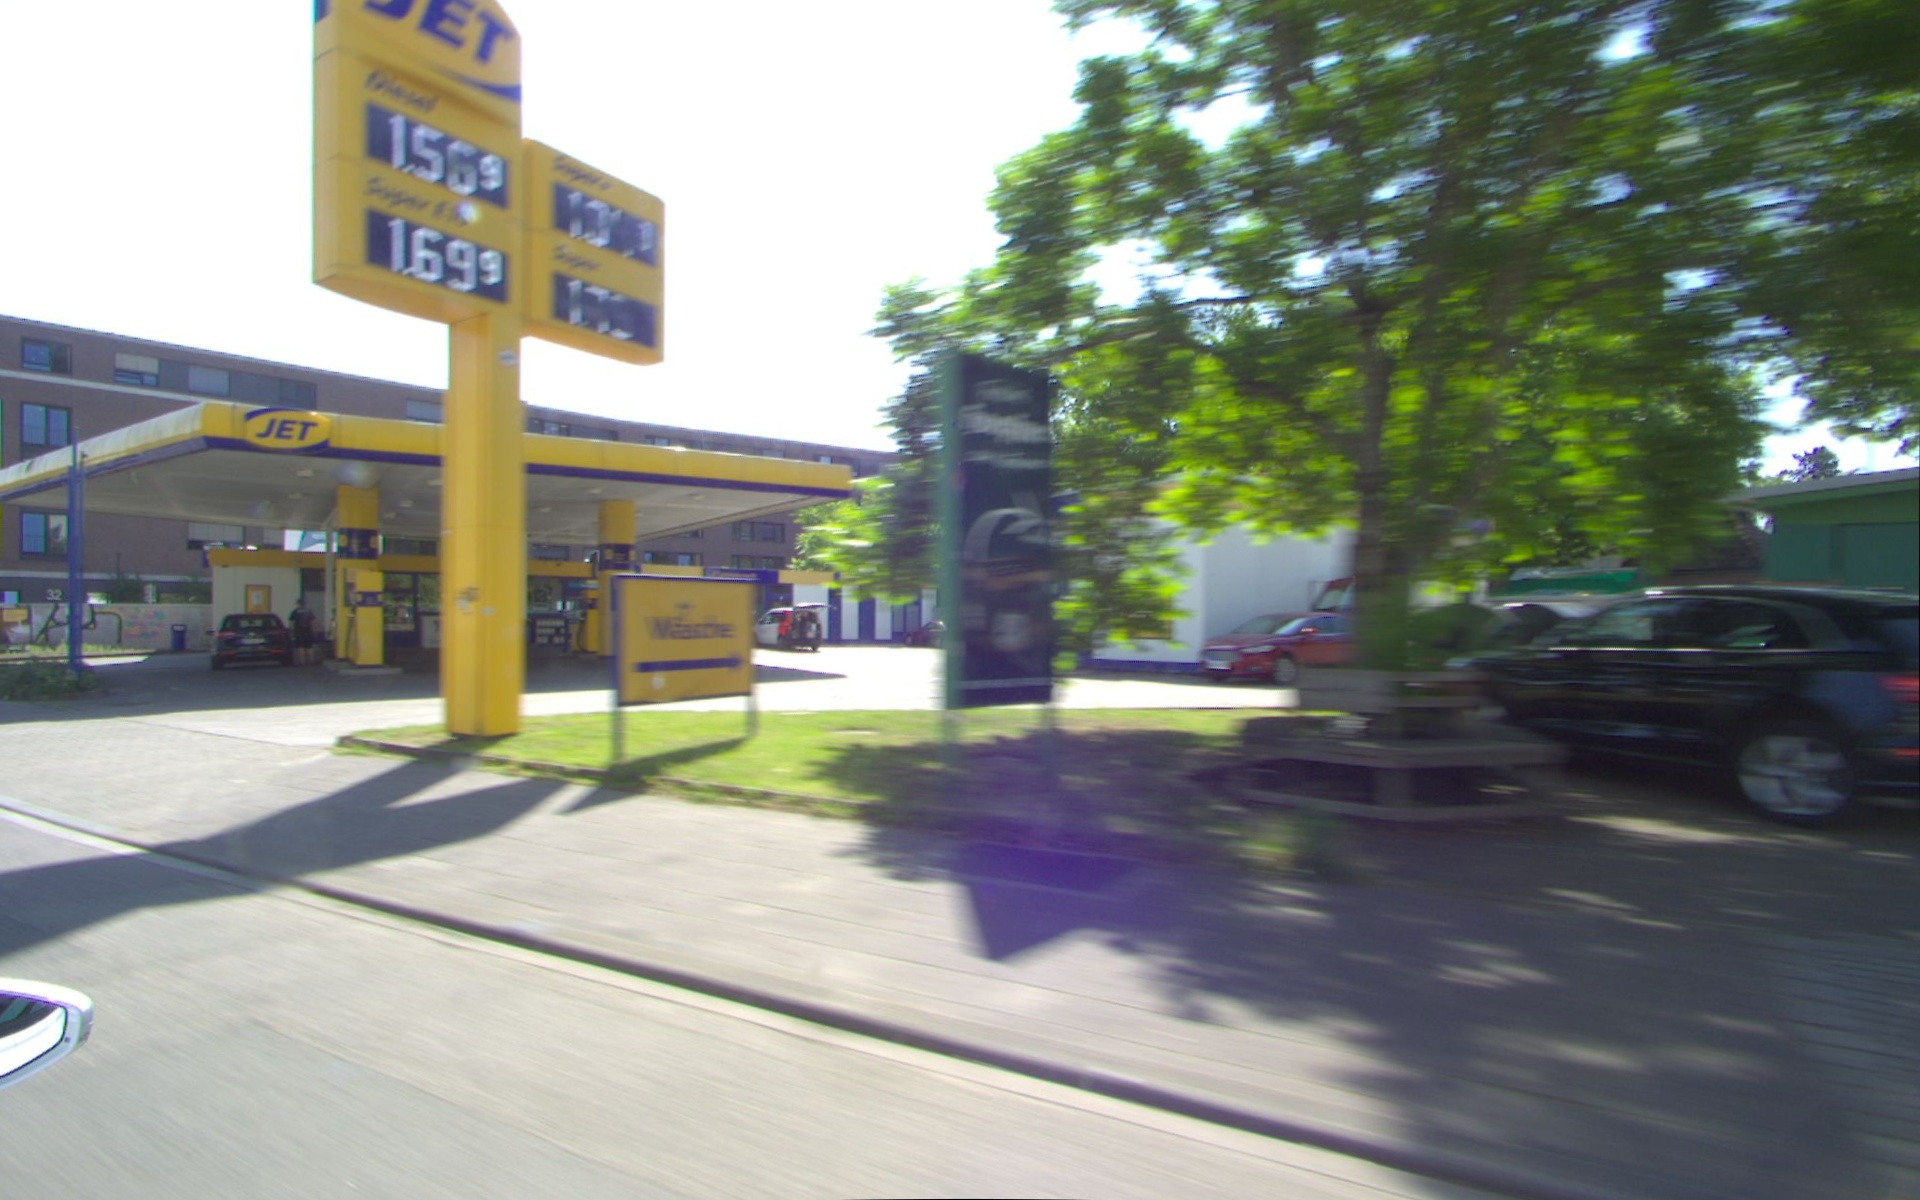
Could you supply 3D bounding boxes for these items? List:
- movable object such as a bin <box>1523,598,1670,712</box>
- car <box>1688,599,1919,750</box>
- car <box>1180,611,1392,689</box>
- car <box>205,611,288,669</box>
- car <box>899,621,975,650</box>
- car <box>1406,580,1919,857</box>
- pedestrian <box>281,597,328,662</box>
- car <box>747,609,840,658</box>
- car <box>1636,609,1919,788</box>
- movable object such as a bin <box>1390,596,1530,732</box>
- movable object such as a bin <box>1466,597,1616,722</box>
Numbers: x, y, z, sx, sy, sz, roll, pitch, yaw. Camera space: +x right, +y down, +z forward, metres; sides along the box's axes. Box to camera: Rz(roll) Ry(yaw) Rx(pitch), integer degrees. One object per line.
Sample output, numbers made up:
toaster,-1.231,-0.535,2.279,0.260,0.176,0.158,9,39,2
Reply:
movable object such as a bin,9.096,0.754,14.338,1.311,1.522,1.324,1,0,-30
car,10.744,0.794,11.176,1.814,1.577,3.994,0,-1,-15
car,6.900,1.006,21.047,4.496,1.479,1.881,1,-1,-34
car,-19.582,1.039,27.608,1.739,1.474,4.380,1,-1,-34
car,-1.171,1.712,49.639,1.740,1.378,4.102,1,-1,-36
car,6.153,0.755,8.332,1.984,1.662,4.653,0,-1,-15
pedestrian,-17.902,0.802,27.350,0.735,1.748,0.854,1,0,34
car,-7.386,1.422,44.036,1.741,2.008,5.265,0,-1,-38
car,8.696,0.834,9.135,1.814,1.493,3.994,0,-1,-15
movable object such as a bin,6.104,0.735,12.190,1.360,1.522,1.414,0,-1,34
movable object such as a bin,7.618,0.741,13.134,1.408,1.522,1.366,1,-1,-43
